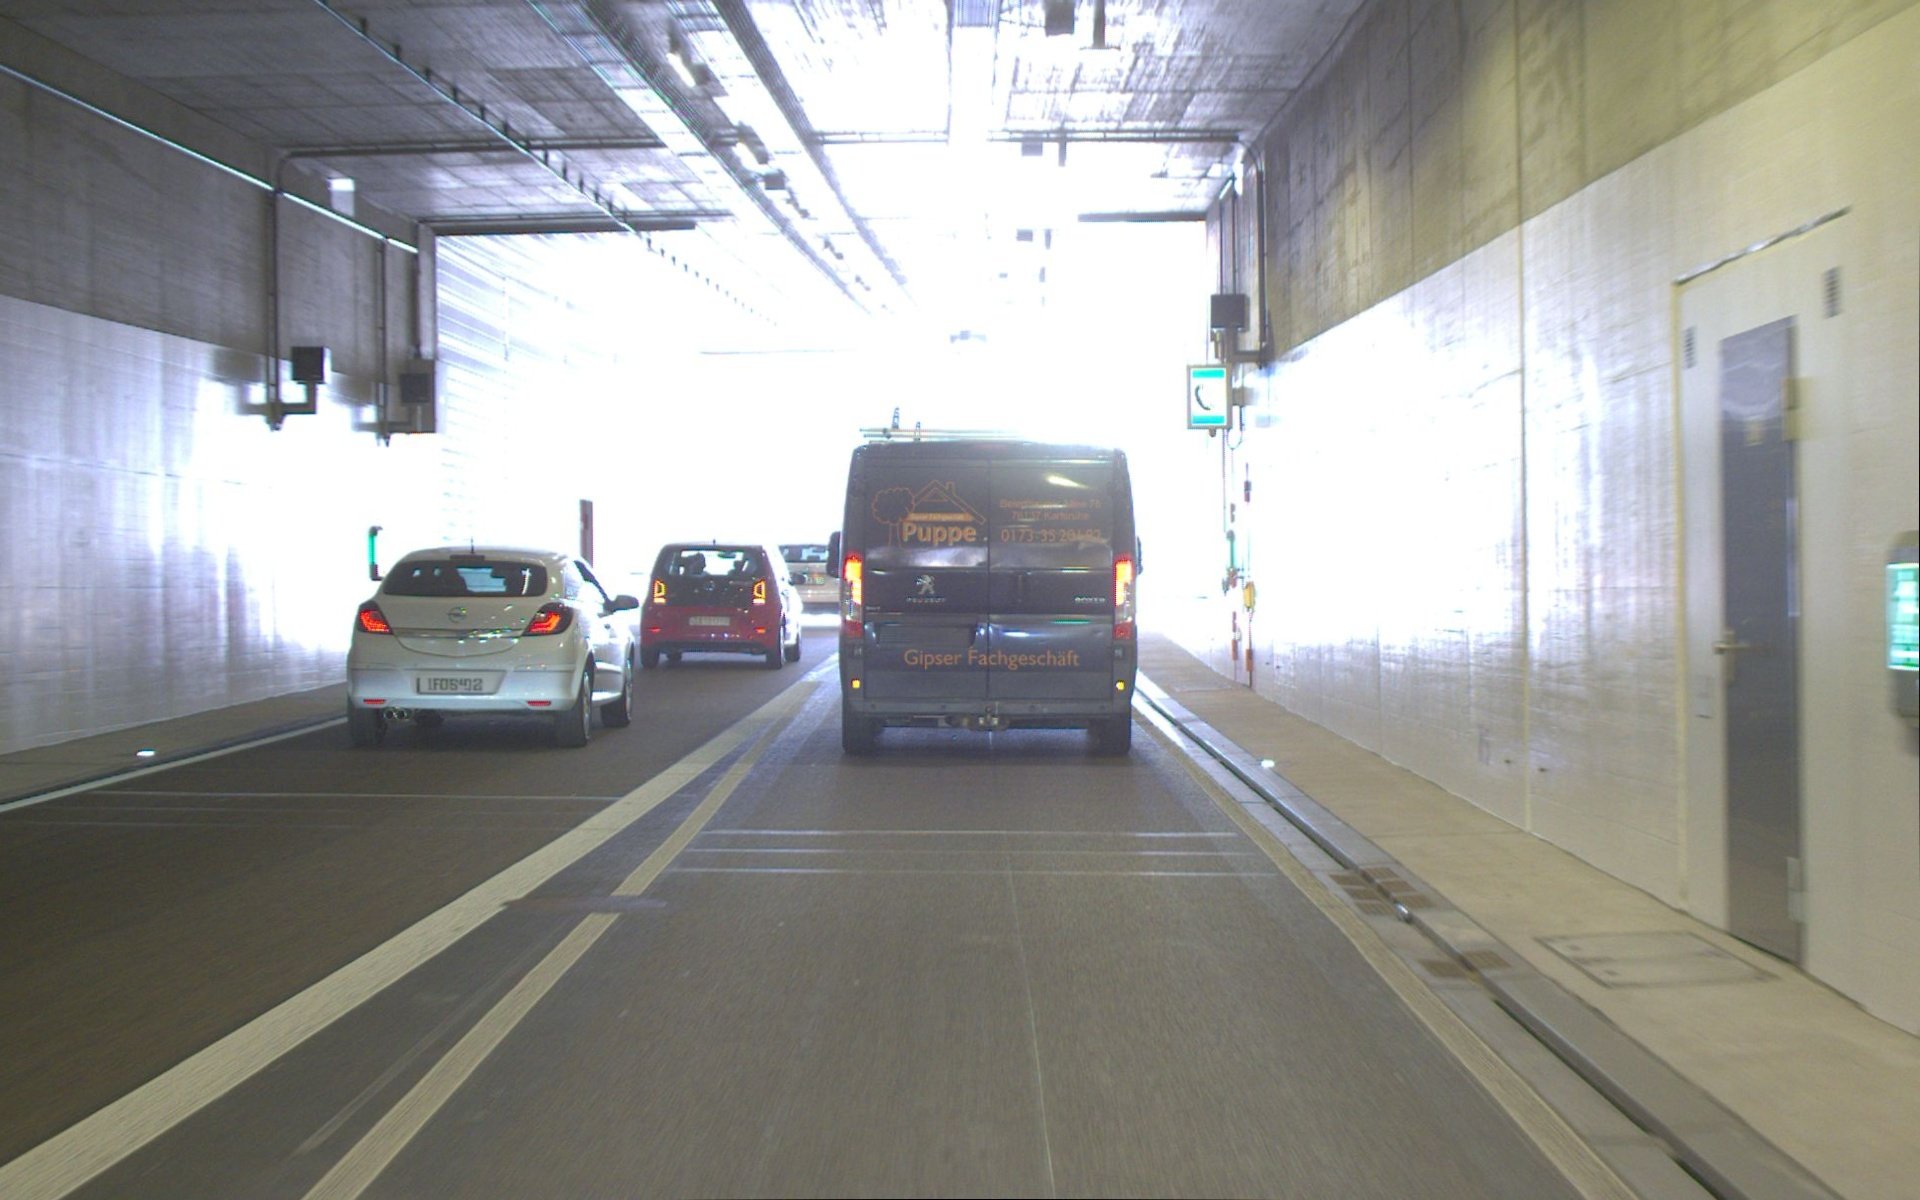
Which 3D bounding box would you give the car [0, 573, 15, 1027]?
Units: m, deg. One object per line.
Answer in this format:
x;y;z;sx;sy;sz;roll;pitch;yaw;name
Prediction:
-3.933;0.629;8.351;1.696;1.417;4.851;2;1;3;car

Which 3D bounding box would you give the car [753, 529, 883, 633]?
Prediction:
-2.261;-0.297;55.886;1.876;1.576;4.220;1;0;0;car

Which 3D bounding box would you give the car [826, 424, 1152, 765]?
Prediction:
0.231;-0.102;25.277;2.158;2.258;4.637;0;2;1;car

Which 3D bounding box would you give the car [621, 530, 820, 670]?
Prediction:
-2.752;-0.041;40.356;1.815;1.507;4.220;1;1;3;car

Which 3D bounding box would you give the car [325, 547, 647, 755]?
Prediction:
-3.431;0.321;25.555;1.709;1.408;3.974;0;1;2;car
